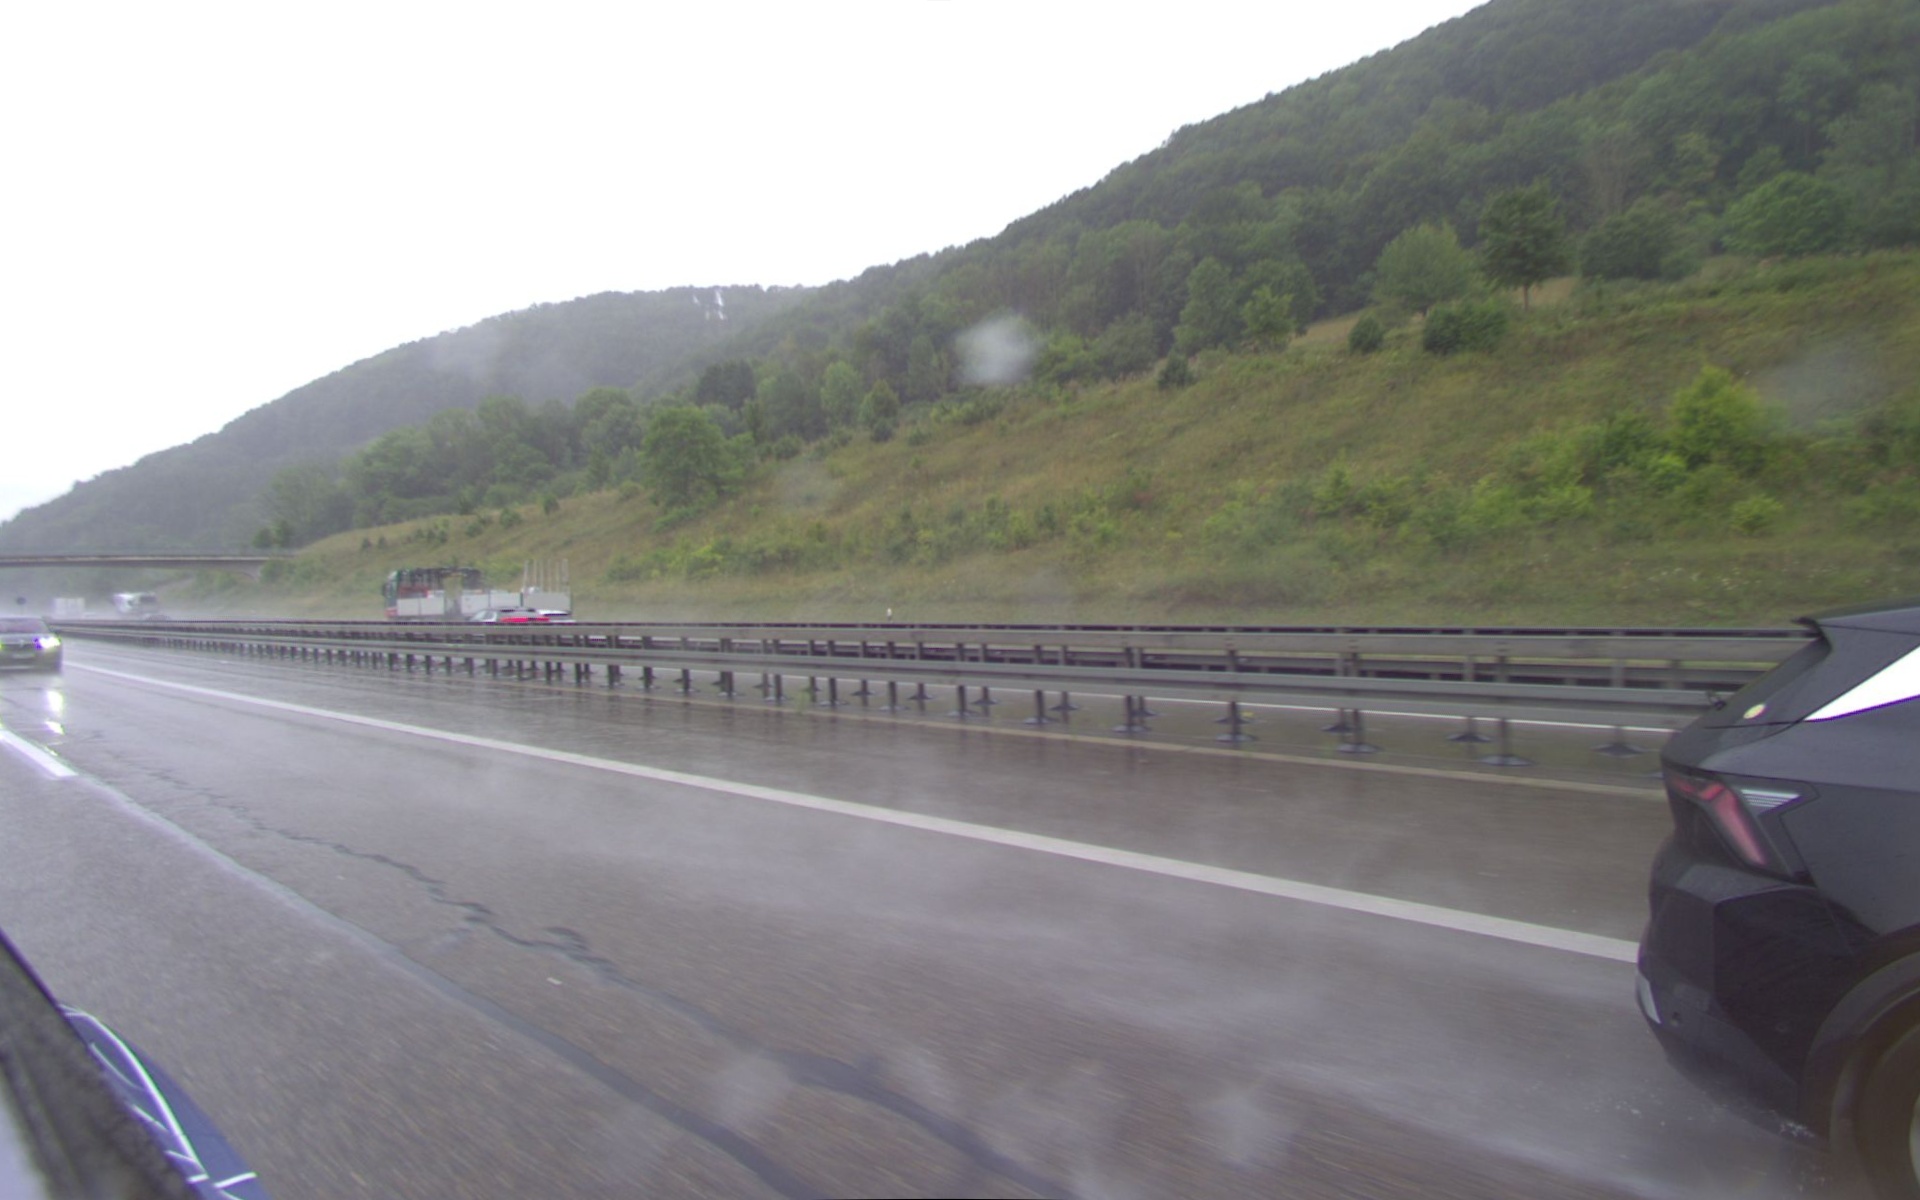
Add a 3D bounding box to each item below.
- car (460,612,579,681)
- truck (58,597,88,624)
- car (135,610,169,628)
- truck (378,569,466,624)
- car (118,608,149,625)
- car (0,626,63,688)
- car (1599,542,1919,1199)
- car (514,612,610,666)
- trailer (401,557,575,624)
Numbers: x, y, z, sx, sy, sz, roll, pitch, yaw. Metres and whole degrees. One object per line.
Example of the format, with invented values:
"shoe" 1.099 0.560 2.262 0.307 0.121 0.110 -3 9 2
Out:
"car" -14.099 1.439 32.331 3.998 2.029 1.973 -1 -1 41
"truck" -151.719 1.792 173.097 5.734 4.461 3.250 -1 0 42
"car" -94.874 2.212 118.866 4.704 2.029 2.362 -1 0 42
"truck" -31.185 -0.148 58.604 5.515 3.021 2.778 -1 -1 42
"car" -102.971 2.078 126.084 4.704 2.029 2.362 -1 0 42
"car" -28.083 1.627 29.718 4.907 1.696 1.972 -1 -2 41
"car" 4.032 0.622 1.595 4.783 1.527 2.380 -1 -1 42
"car" -16.034 1.538 40.724 3.998 2.029 1.973 -1 -1 41
"trailer" -25.079 -0.302 53.030 14.898 3.076 2.783 -1 -1 43
